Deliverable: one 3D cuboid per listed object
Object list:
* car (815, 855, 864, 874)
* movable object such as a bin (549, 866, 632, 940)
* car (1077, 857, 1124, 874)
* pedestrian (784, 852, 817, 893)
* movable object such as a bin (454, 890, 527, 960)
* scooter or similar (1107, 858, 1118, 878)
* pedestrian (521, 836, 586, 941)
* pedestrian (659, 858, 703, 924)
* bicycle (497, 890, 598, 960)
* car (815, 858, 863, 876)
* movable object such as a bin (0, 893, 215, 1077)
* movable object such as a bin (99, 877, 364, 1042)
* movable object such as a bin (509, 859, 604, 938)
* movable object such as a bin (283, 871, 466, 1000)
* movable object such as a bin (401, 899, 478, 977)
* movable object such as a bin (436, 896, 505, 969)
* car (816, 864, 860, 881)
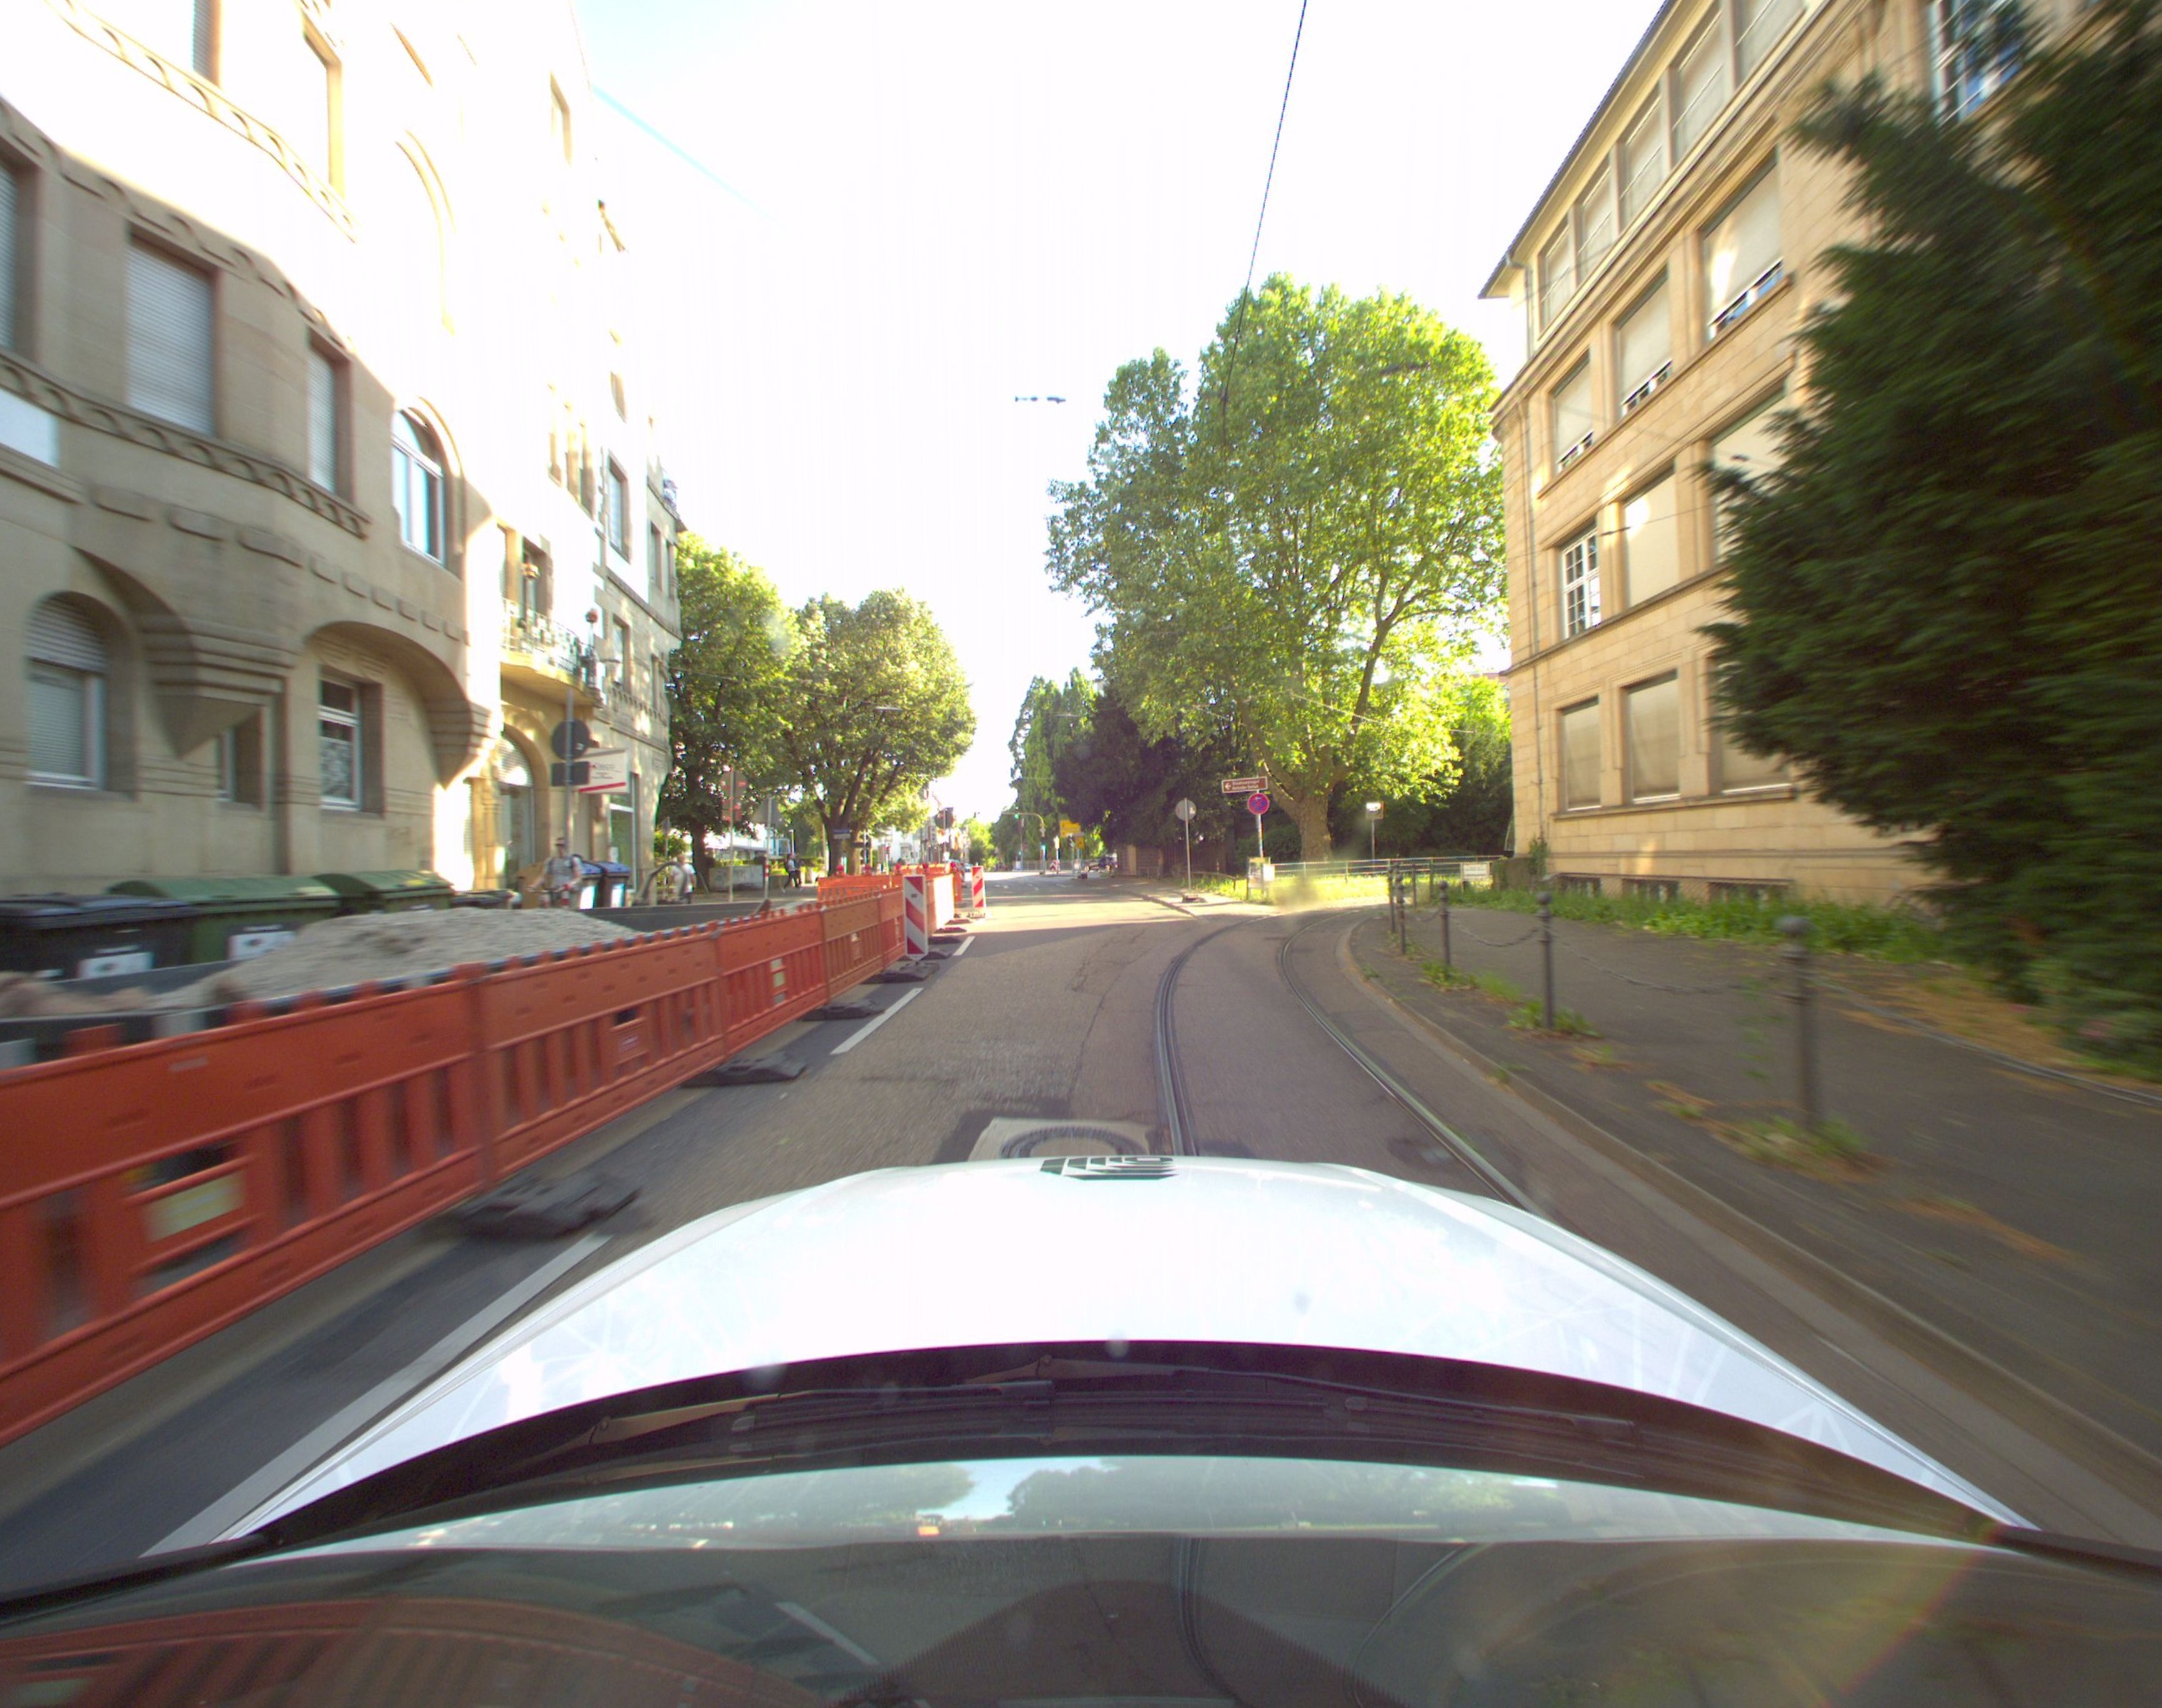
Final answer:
[{"bbox_3d":[-25.105,1.051,84.663,4.669,1.965,2.109,0,0,-12],"label":"car"},{"bbox_3d":[-10.164,0.984,16.936,1.083,1.431,1.340,0,0,-12],"label":"movable object such as a bin"},{"bbox_3d":[2.072,1.233,86.200,4.603,1.670,2.012,-2,-4,36],"label":"car"},{"bbox_3d":[-12.471,0.797,36.282,1.040,1.781,1.191,-1,0,-1],"label":"pedestrian"},{"bbox_3d":[-9.324,1.106,12.879,0.635,1.041,0.762,0,-1,-7],"label":"movable object such as a bin"},{"bbox_3d":[1.917,0.837,49.547,0.437,1.202,1.256,-4,0,-6],"label":"scooter or similar"},{"bbox_3d":[-8.014,0.514,12.396,0.596,1.556,0.615,0,-1,-2],"label":"pedestrian"},{"bbox_3d":[-9.976,0.895,20.323,0.822,1.603,0.912,0,-1,-15],"label":"pedestrian"},{"bbox_3d":[-8.019,1.036,12.308,0.598,0.932,1.472,0,0,-2],"label":"bicycle"},{"bbox_3d":[-24.373,1.292,82.085,4.309,1.852,1.995,0,0,-7],"label":"car"},{"bbox_3d":[-8.168,0.978,6.503,1.081,1.264,1.332,0,0,-6],"label":"movable object such as a bin"},{"bbox_3d":[-8.221,0.955,7.979,1.076,1.431,1.411,0,0,9],"label":"movable object such as a bin"},{"bbox_3d":[-9.961,0.814,15.546,1.083,1.431,1.401,0,0,-12],"label":"movable object such as a bin"},{"bbox_3d":[-8.607,0.941,10.020,1.081,1.431,1.404,0,0,-7],"label":"movable object such as a bin"},{"bbox_3d":[-9.120,1.174,11.592,0.635,1.041,0.586,0,-1,-7],"label":"movable object such as a bin"},{"bbox_3d":[-9.131,1.161,12.200,0.635,1.023,0.554,0,-1,-7],"label":"movable object such as a bin"},{"bbox_3d":[-23.551,1.782,79.027,3.996,1.479,1.991,-1,0,-14],"label":"car"}]
